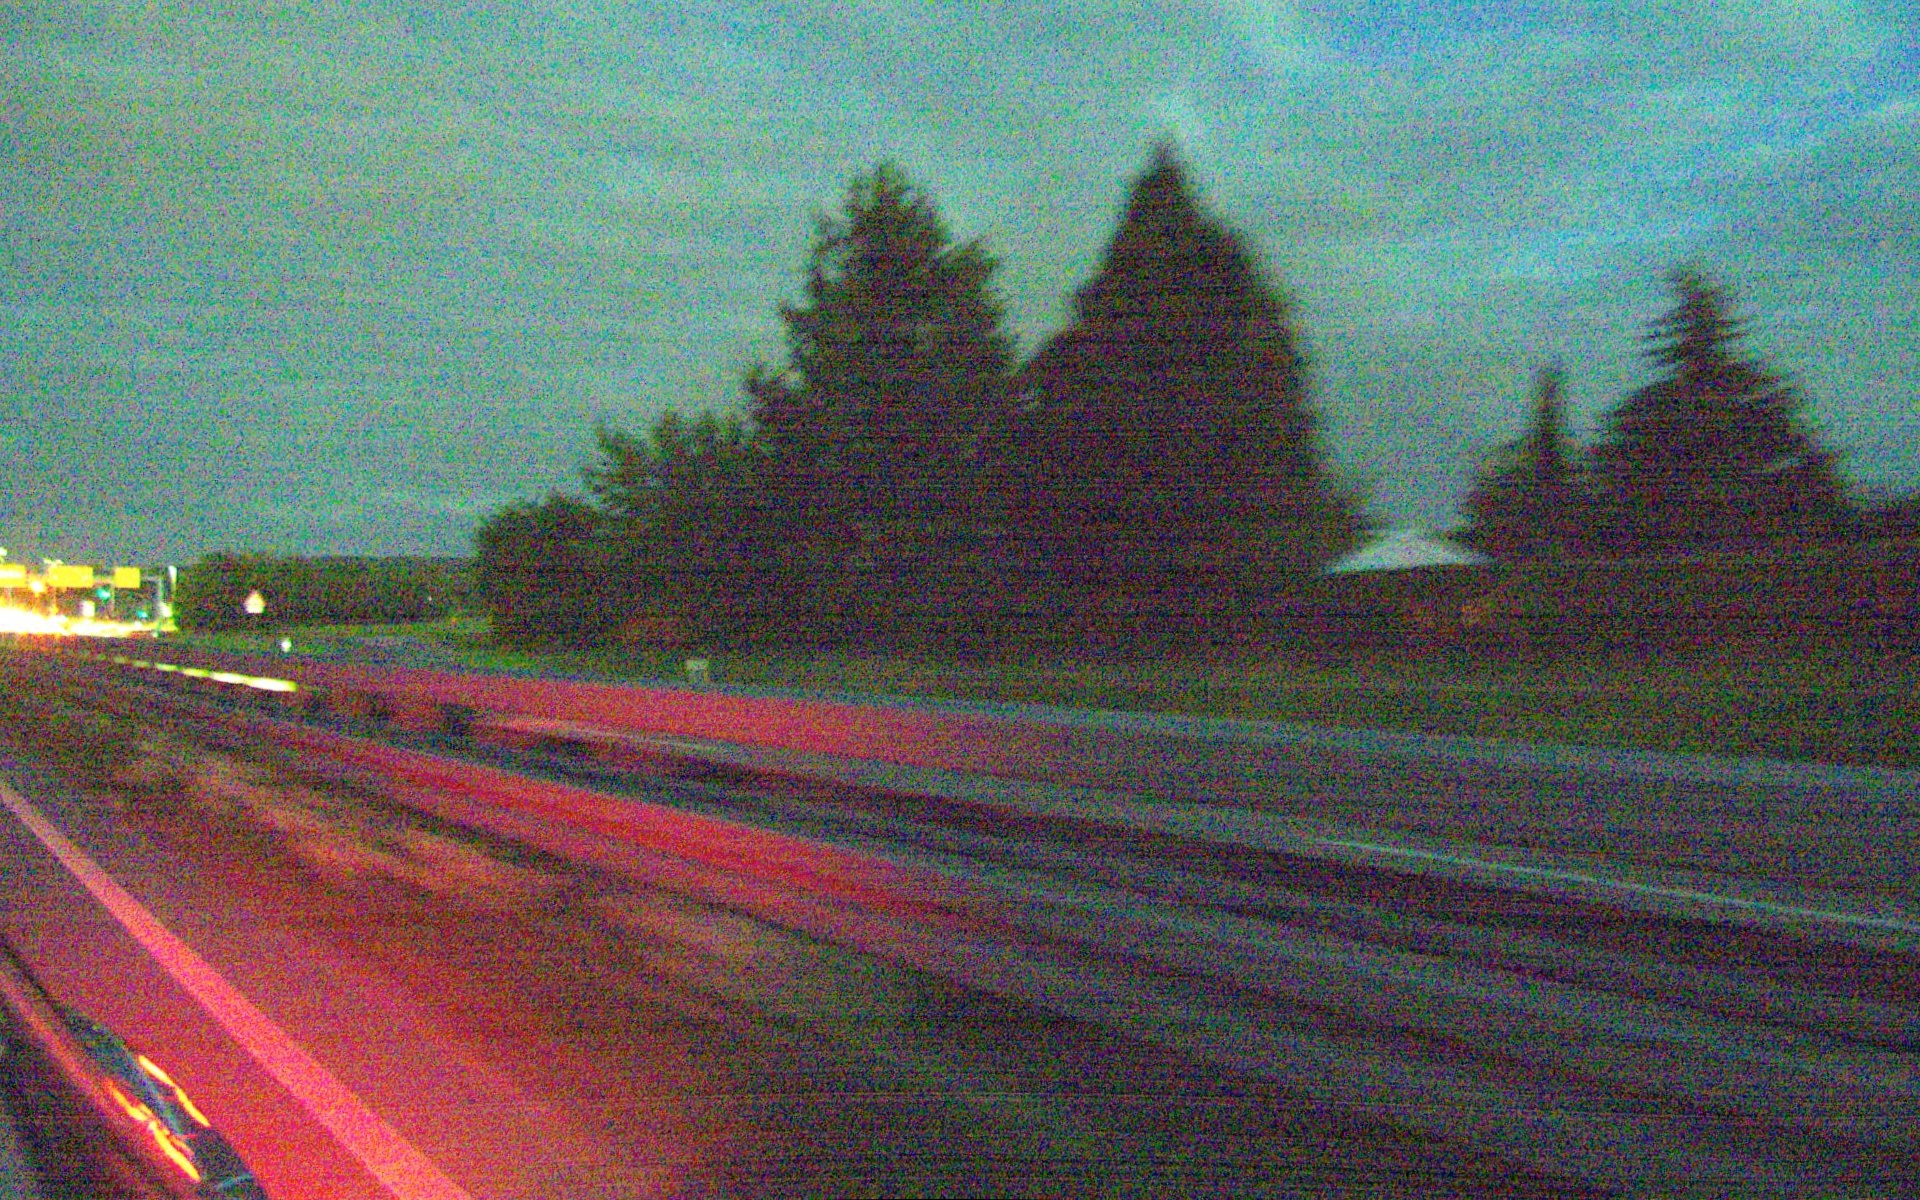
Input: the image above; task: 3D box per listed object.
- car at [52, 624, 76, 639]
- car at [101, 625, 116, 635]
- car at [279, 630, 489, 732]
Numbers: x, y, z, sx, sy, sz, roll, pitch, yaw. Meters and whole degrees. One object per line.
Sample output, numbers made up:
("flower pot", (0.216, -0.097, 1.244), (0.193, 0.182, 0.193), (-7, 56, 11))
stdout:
("car", (-96.869, 3.381, 109.409), (1.698, 1.458, 4.390), (0, 0, -39))
("car", (-131.624, 4.591, 156.438), (1.632, 1.487, 4.007), (0, 0, -39))
("car", (-9.895, 1.274, 17.227), (4.572, 1.418, 1.702), (-1, 0, 41))
